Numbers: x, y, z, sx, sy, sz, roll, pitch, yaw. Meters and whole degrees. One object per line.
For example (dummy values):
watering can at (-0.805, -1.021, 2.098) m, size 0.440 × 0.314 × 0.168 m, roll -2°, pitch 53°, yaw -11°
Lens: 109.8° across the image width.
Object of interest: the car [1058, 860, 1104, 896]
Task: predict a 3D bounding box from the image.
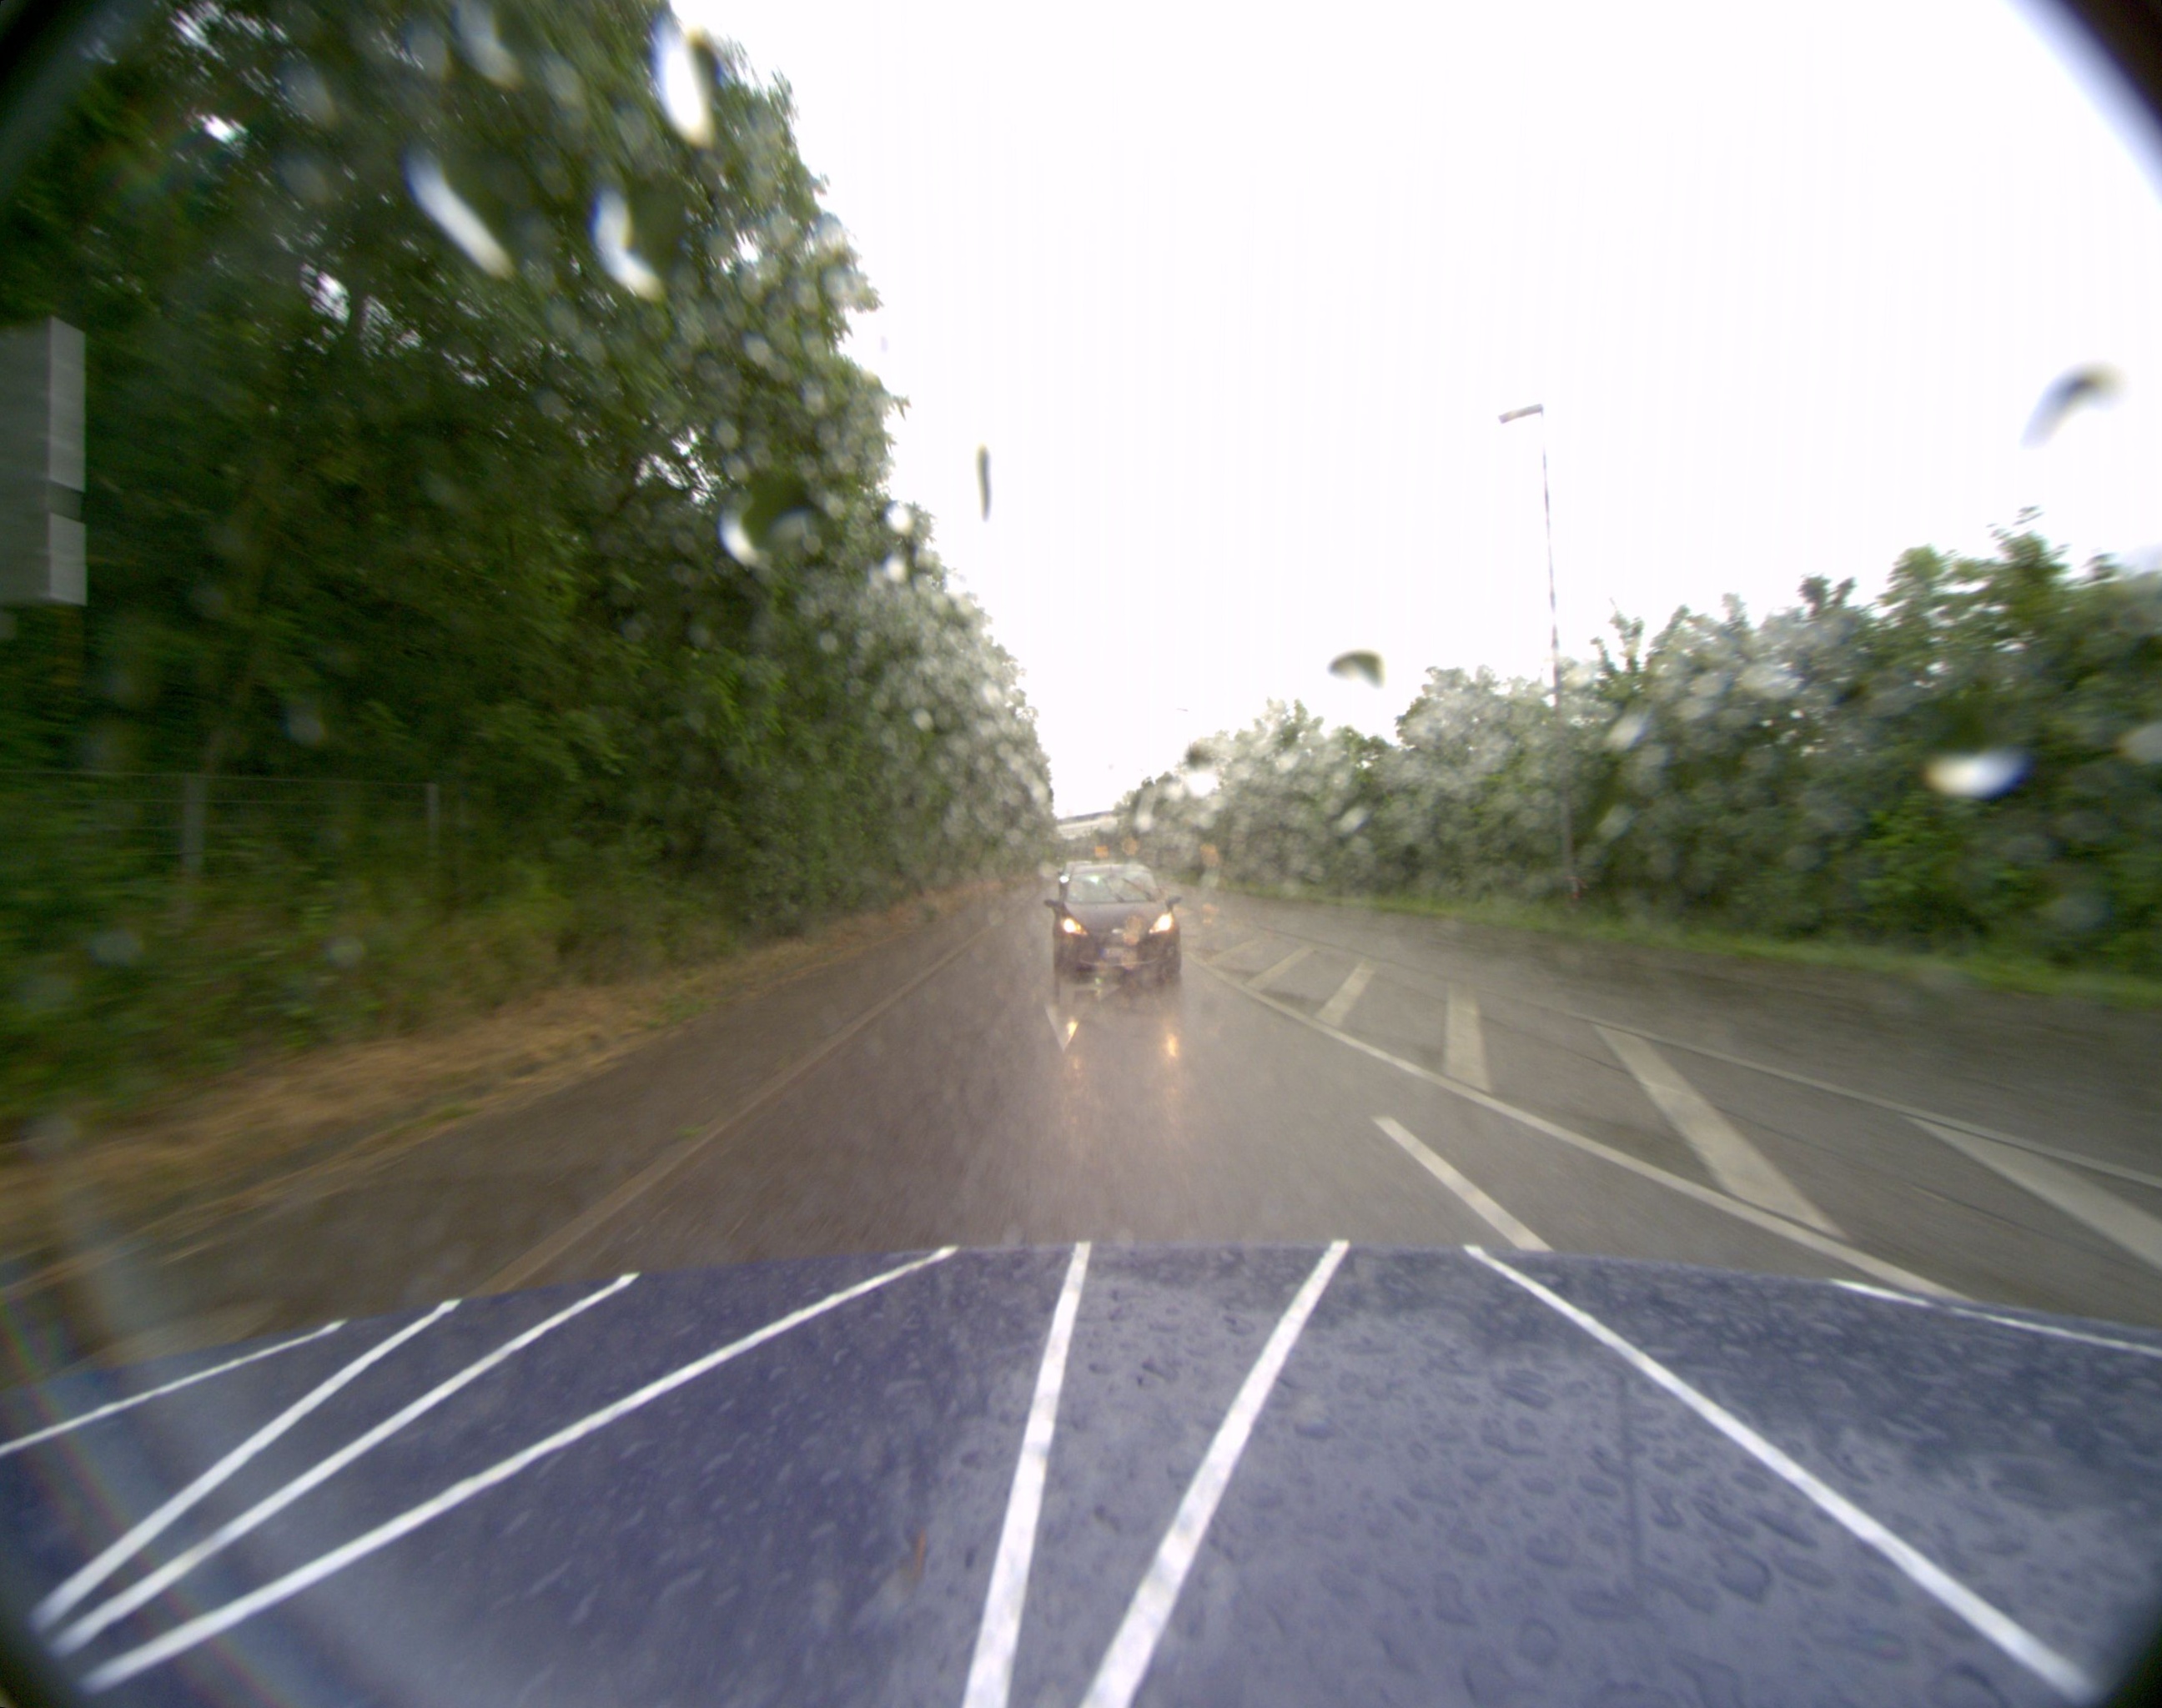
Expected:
car at (-0.044, 1.041, 34.291) m, size 1.874 × 1.432 × 4.377 m, roll -3°, pitch 0°, yaw -1°

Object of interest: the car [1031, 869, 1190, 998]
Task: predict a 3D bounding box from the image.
car at (0.302, 1.002, 11.393) m, size 1.874 × 1.432 × 4.377 m, roll -2°, pitch 0°, yaw -2°
